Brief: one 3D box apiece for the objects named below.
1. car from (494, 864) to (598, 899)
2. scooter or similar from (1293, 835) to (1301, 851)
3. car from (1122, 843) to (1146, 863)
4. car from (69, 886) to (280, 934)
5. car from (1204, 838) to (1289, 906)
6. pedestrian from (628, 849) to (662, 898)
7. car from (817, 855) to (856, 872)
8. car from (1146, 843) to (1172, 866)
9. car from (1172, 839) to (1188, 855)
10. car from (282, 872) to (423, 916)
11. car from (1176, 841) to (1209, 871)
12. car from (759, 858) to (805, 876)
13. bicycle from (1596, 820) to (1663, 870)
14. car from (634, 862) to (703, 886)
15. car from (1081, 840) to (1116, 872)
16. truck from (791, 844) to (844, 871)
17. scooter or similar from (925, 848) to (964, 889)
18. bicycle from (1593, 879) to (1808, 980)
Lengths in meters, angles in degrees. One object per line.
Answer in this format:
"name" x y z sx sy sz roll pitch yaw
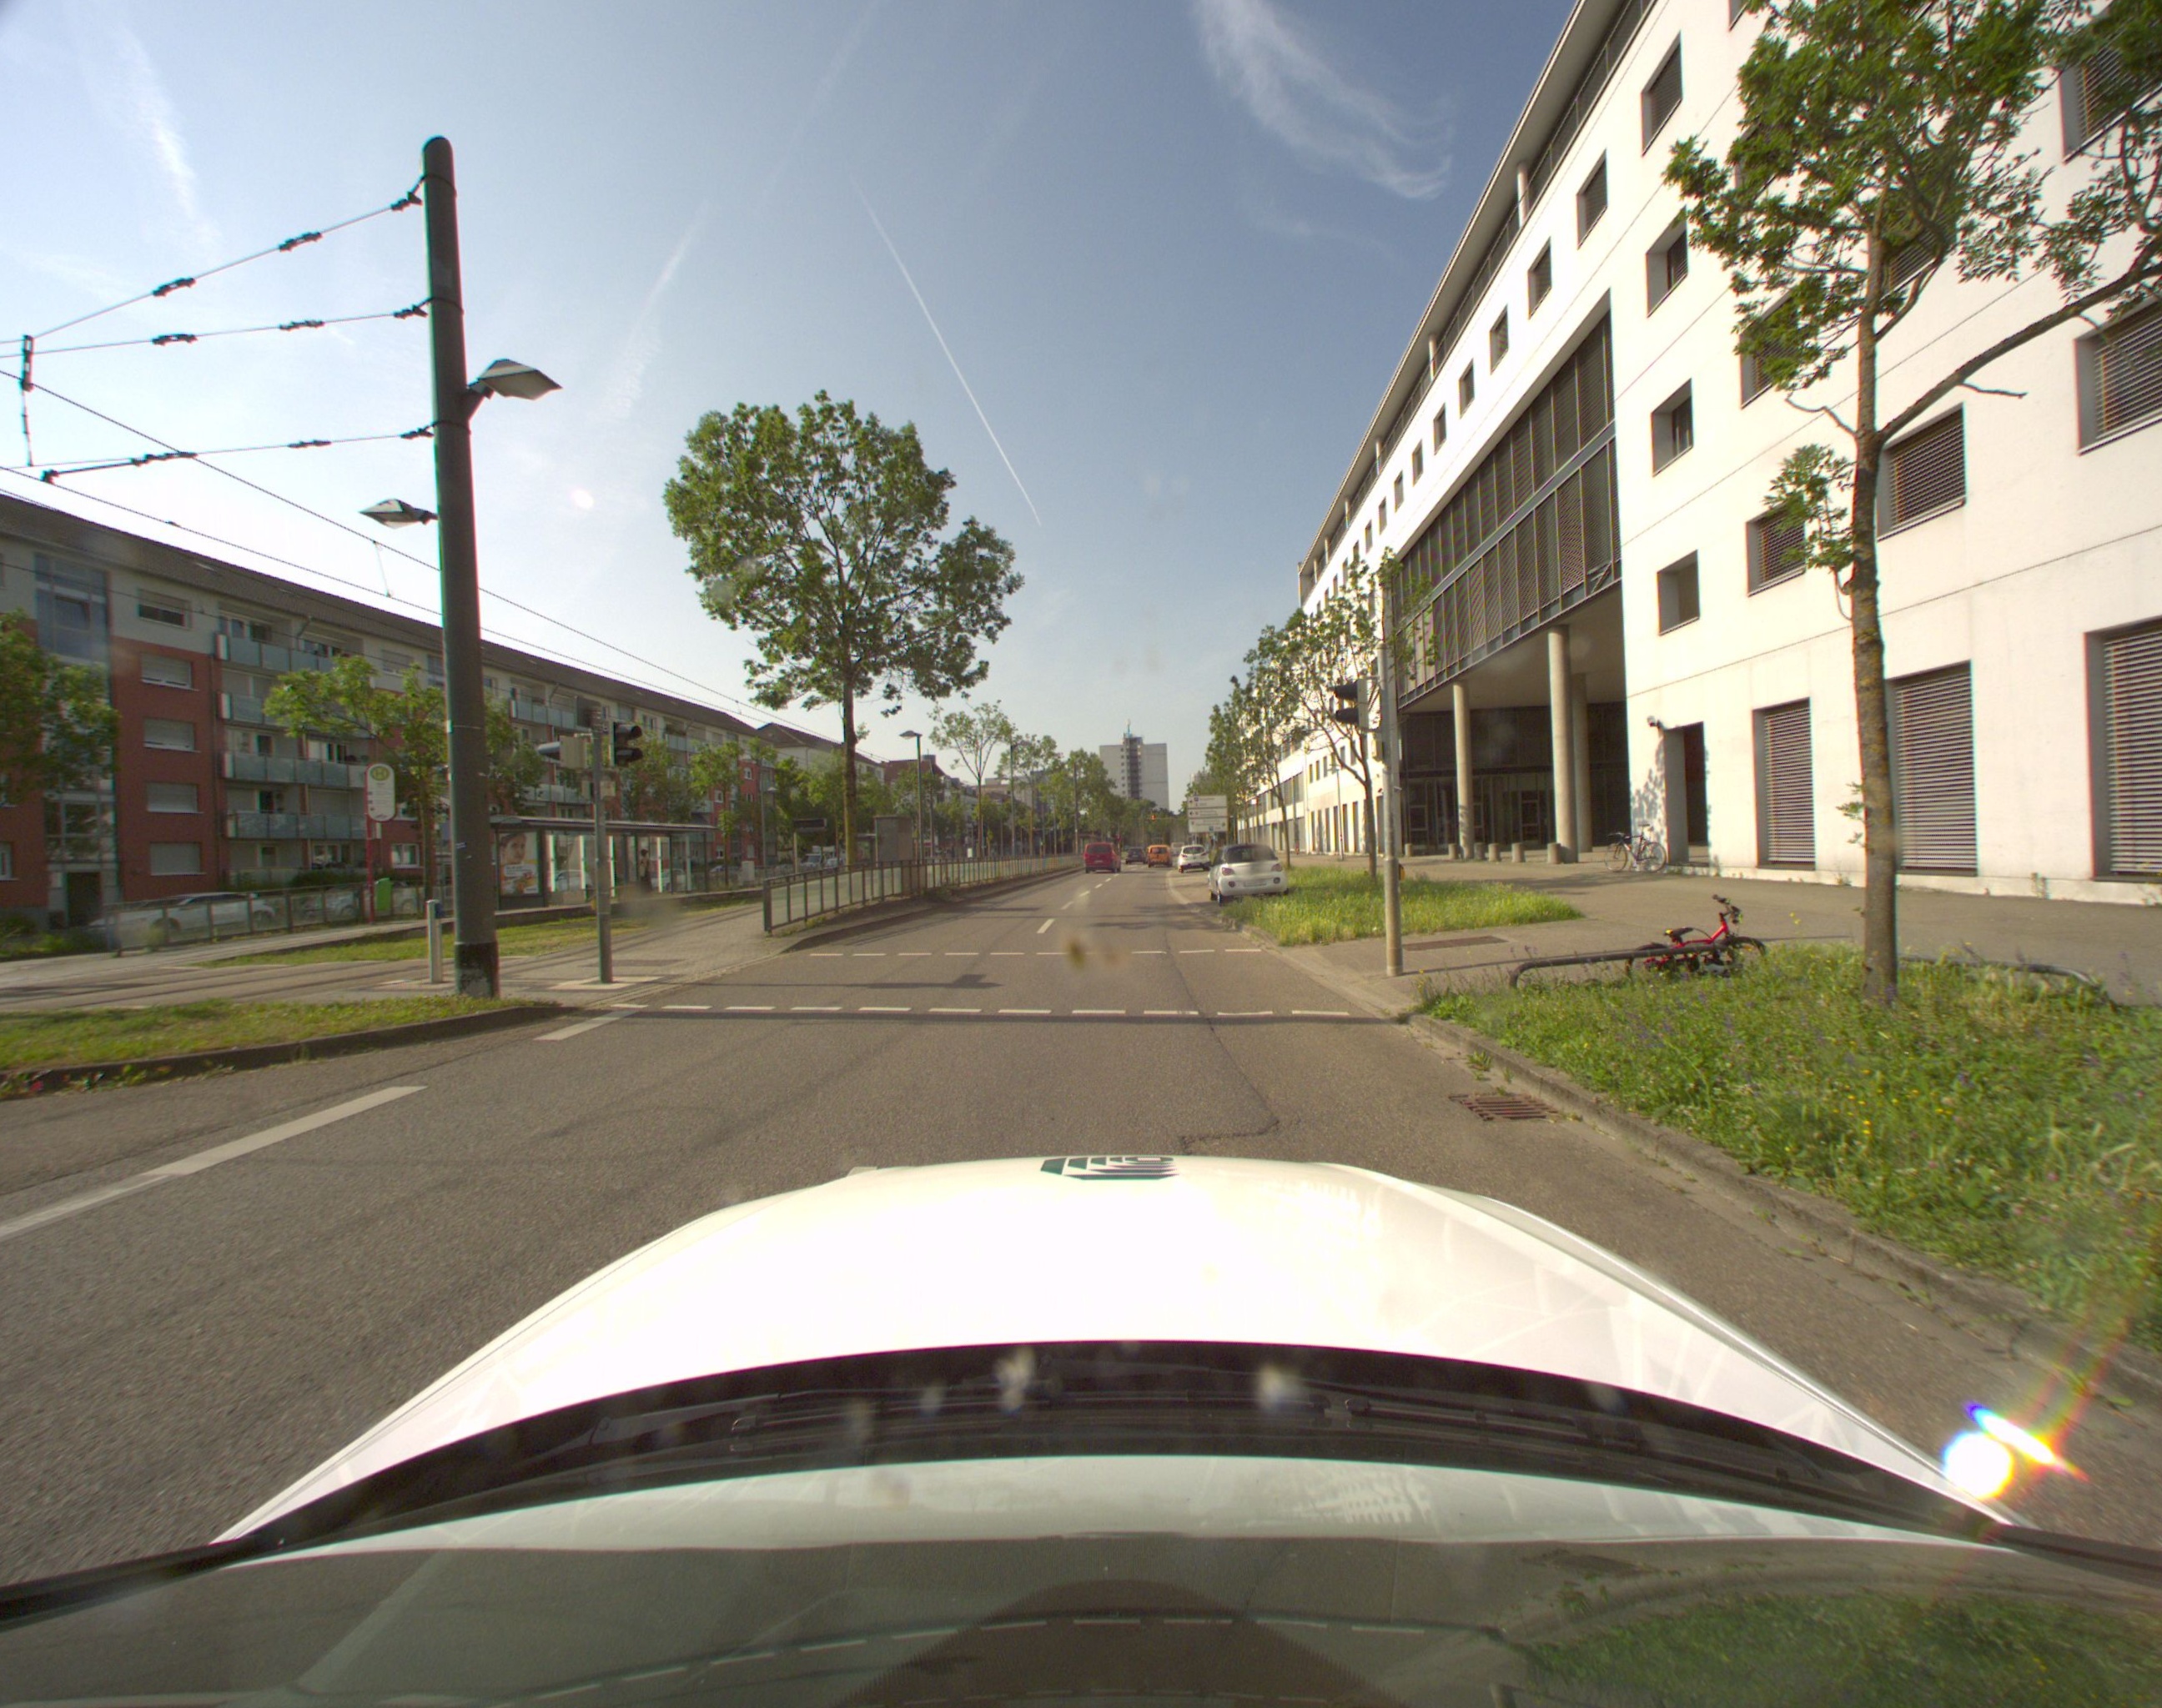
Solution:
"car" -27.080 1.363 41.397 1.971 1.556 4.544 -1 1 5
"scooter or similar" 16.585 -0.852 62.639 0.459 1.213 1.259 -4 1 12
"car" 4.854 -0.121 73.961 1.983 1.706 4.007 -3 0 6
"car" -28.425 1.719 25.772 1.824 1.147 4.171 -1 1 5
"car" 4.204 0.406 21.212 1.712 1.519 3.787 -2 1 5
"pedestrian" -15.326 0.666 28.628 0.669 1.653 0.795 -3 0 1
"car" -22.951 0.872 76.632 1.971 1.513 4.287 -1 1 5
"car" 6.070 0.007 63.135 1.866 1.696 3.981 -2 1 6
"car" 13.404 -0.948 110.580 1.983 2.013 4.007 -3 0 6
"car" -28.125 1.498 31.617 1.824 1.471 3.833 -1 1 5
"car" 6.422 0.065 47.320 1.680 1.526 3.857 -4 1 6
"car" -24.171 1.020 65.975 1.971 1.360 4.075 -1 1 5
"bicycle" 12.640 -0.207 18.815 0.491 1.086 1.551 -4 1 3
"car" -25.865 1.225 51.226 1.971 1.360 4.075 -1 1 5
"car" 1.154 0.099 51.228 1.866 1.853 4.006 -2 1 5
"truck" -26.076 0.298 80.968 2.354 2.562 7.252 -1 1 5
"scooter or similar" -4.416 0.449 26.414 0.422 1.239 1.270 -3 0 33
"bicycle" 5.123 0.622 6.805 1.262 0.632 0.523 -9 -1 13
